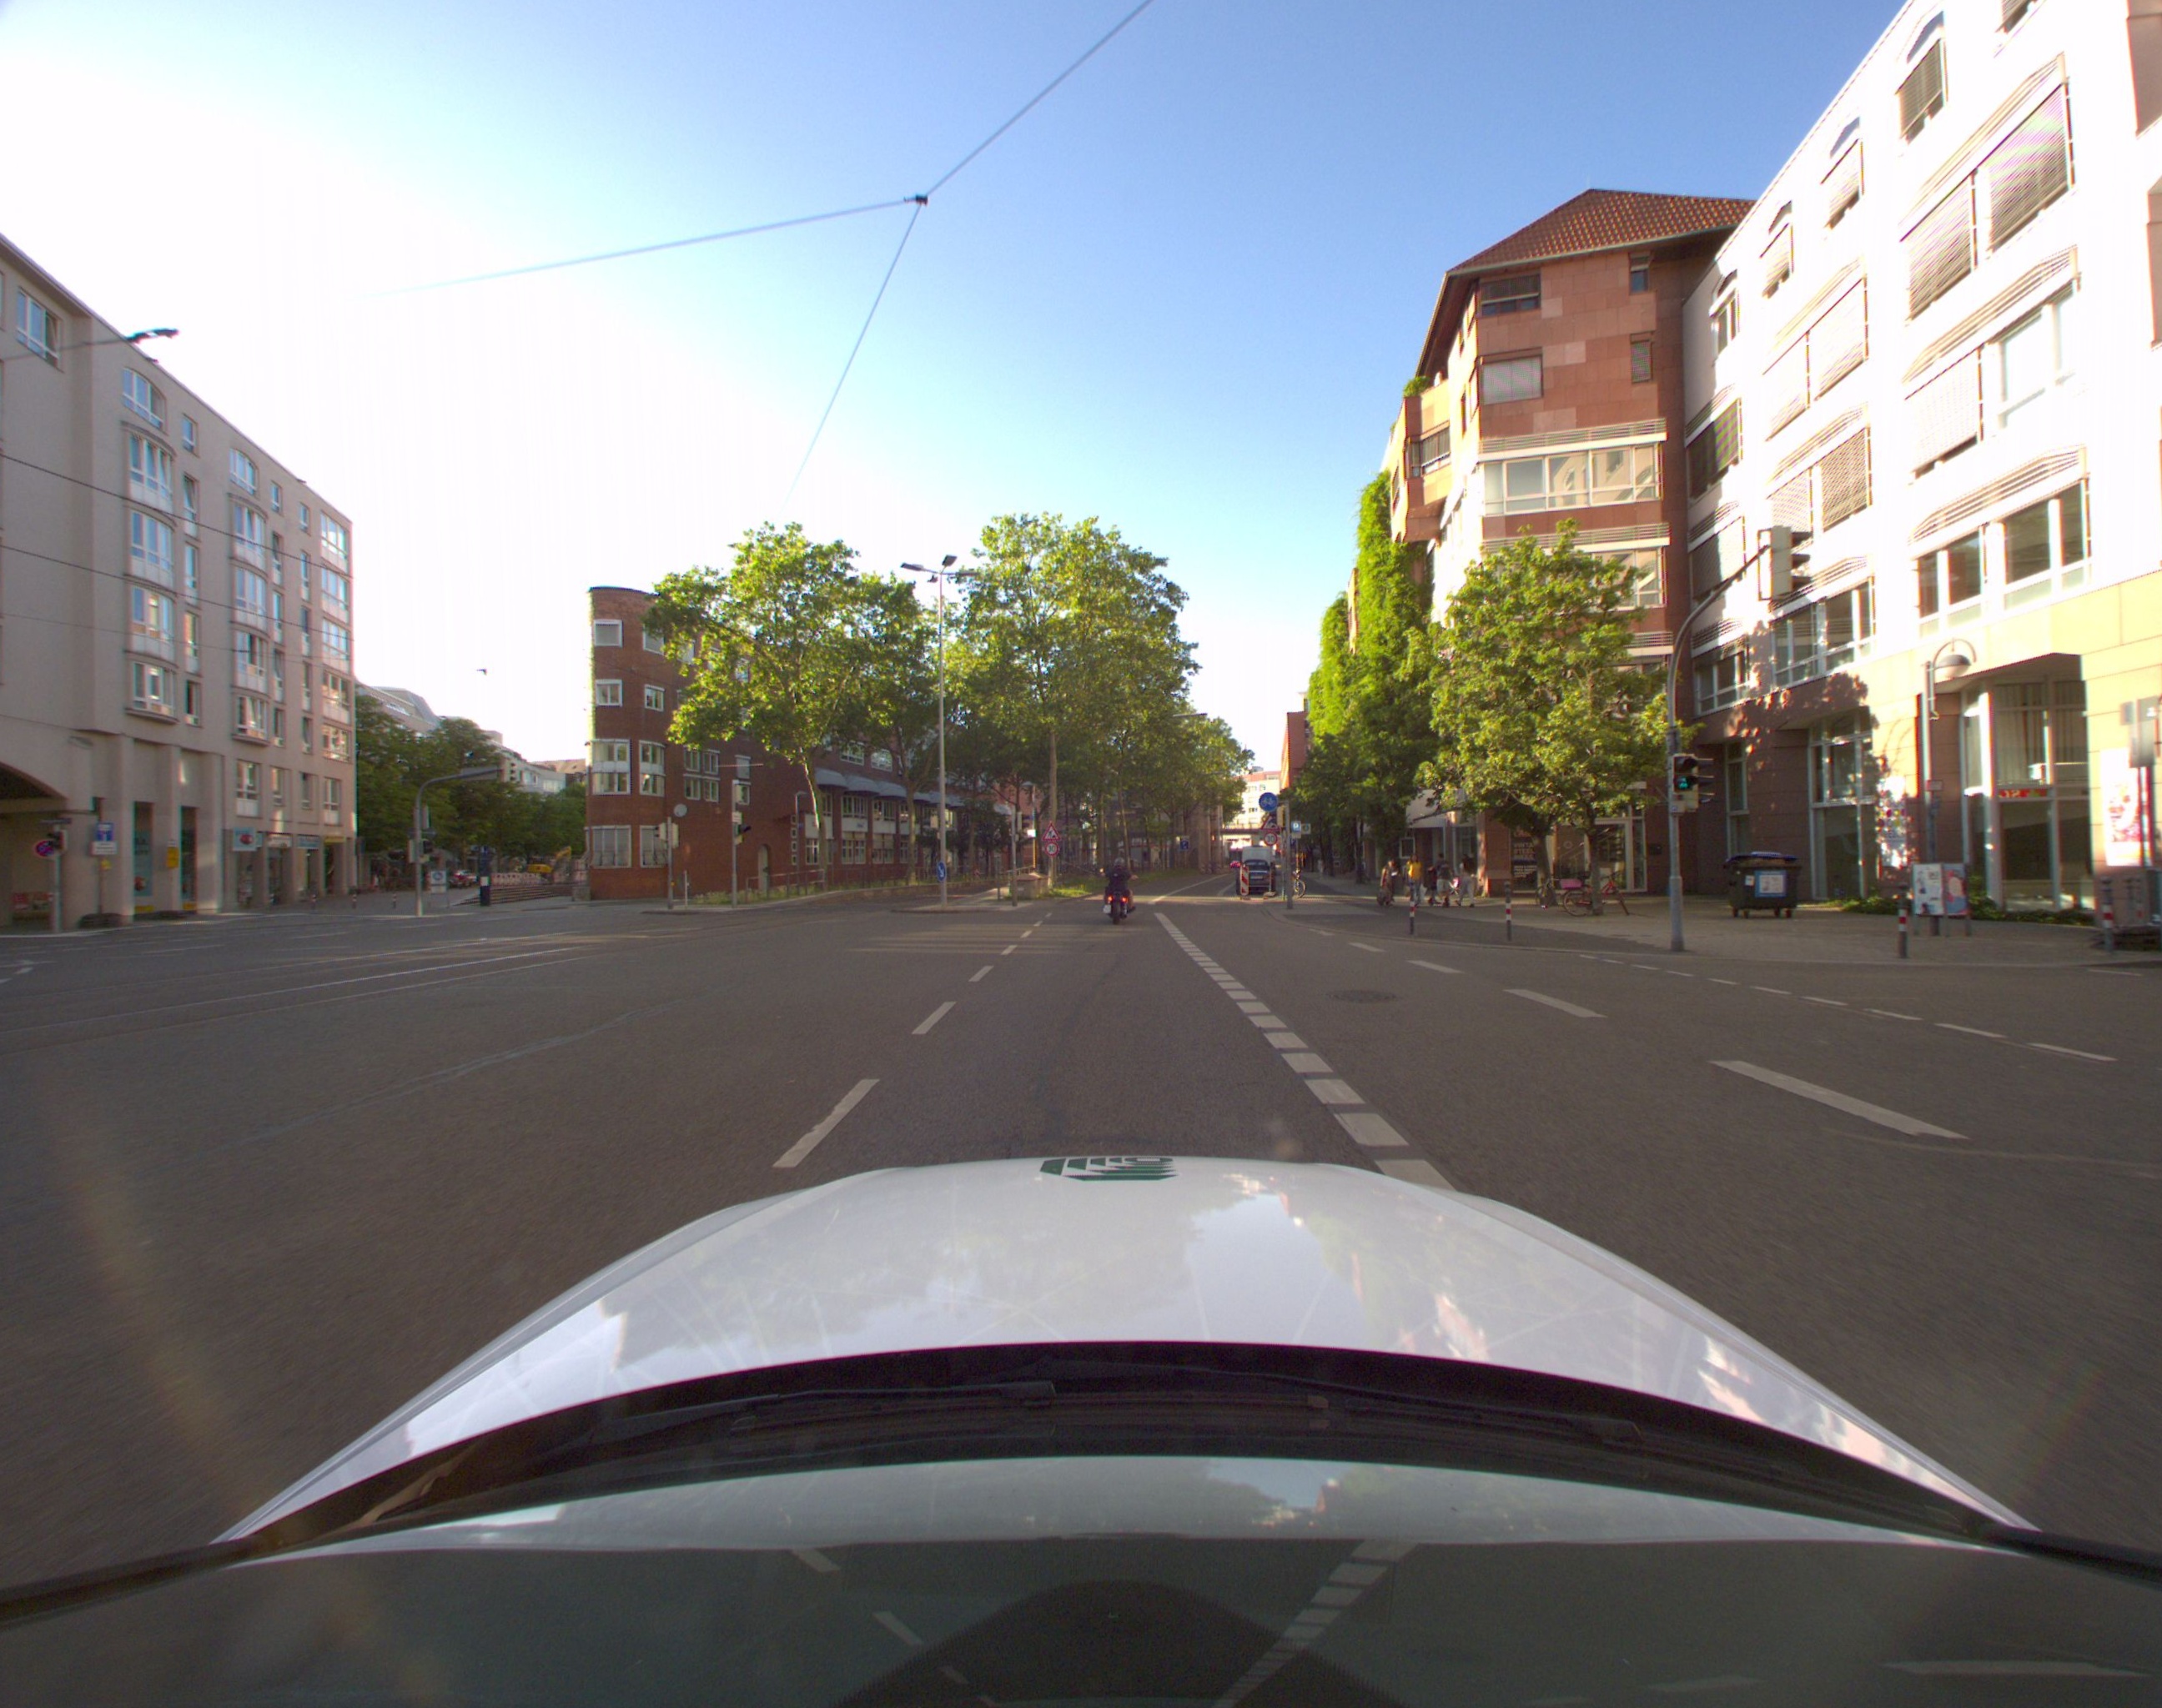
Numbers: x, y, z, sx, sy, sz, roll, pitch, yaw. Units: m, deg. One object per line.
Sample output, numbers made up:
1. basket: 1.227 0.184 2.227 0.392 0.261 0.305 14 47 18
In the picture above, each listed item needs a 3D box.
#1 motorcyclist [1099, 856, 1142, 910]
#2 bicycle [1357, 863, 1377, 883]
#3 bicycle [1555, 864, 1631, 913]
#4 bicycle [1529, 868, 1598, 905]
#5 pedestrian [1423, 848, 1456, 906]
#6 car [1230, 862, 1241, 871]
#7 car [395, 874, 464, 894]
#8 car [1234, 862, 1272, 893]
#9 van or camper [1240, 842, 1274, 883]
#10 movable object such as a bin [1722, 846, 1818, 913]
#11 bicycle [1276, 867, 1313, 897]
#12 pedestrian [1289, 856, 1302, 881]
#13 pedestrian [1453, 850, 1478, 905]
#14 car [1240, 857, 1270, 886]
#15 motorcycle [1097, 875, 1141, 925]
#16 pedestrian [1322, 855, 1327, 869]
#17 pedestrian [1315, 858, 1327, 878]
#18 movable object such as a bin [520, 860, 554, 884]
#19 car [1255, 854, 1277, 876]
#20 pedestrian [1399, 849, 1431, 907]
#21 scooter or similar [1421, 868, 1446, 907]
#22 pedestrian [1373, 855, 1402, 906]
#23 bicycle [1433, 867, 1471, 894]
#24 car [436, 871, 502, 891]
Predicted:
1. motorcyclist: 0.963 0.687 19.866 1.007 1.263 0.775 1 0 4
2. bicycle: 15.849 1.037 45.171 0.614 1.020 1.916 -1 0 5
3. bicycle: 13.302 0.903 21.191 1.558 1.227 0.579 -1 -1 8
4. bicycle: 14.291 0.966 24.167 1.730 1.053 0.744 -2 -1 29
5. pedestrian: 11.214 0.716 25.513 0.781 1.763 0.611 -1 -1 9
6. car: 28.306 2.287 149.104 1.841 1.717 4.010 -1 -1 9
7. car: -51.377 2.323 64.303 4.013 1.400 1.980 -1 -1 -32
8. car: 7.988 1.059 38.036 1.610 1.302 4.324 -1 -1 11
9. van or camper: 11.651 0.562 53.846 2.035 2.541 5.792 -1 -1 12
10. movable object such as a bin: 15.684 0.581 18.583 1.400 1.482 0.875 -1 -1 13
11. bicycle: 7.938 1.022 30.384 0.736 1.053 1.748 -1 0 -7
12. pedestrian: 14.690 0.981 55.837 0.759 1.645 0.548 -1 -1 5
13. pedestrian: 11.957 0.728 25.324 0.457 1.672 0.681 -1 -1 4
14. car: 10.115 0.984 47.458 1.609 1.619 4.499 -1 -1 12
15. motorcycle: 0.940 1.090 19.792 1.013 1.097 2.009 -1 0 4
16. pedestrian: 27.887 0.903 93.436 0.447 1.627 0.375 -1 -1 6
17. pedestrian: 17.527 0.995 59.496 0.760 1.445 0.782 0 -1 11
18. movable object such as a bin: -56.525 1.852 84.658 1.928 2.310 2.776 -1 0 -12
19. car: 17.589 1.003 77.554 1.823 2.014 4.402 -1 -1 12
20. pedestrian: 10.361 0.737 25.306 0.697 1.733 0.769 -1 -1 6
21. scooter or similar: 10.948 1.034 25.311 0.392 1.158 1.252 -1 -1 8
22. pedestrian: 9.580 0.820 25.487 0.641 1.578 0.749 -1 -1 6
23. bicycle: 13.400 0.946 29.455 0.733 0.939 1.755 -1 0 7
24. car: -51.355 2.273 68.414 1.980 1.555 4.014 -1 -1 13
